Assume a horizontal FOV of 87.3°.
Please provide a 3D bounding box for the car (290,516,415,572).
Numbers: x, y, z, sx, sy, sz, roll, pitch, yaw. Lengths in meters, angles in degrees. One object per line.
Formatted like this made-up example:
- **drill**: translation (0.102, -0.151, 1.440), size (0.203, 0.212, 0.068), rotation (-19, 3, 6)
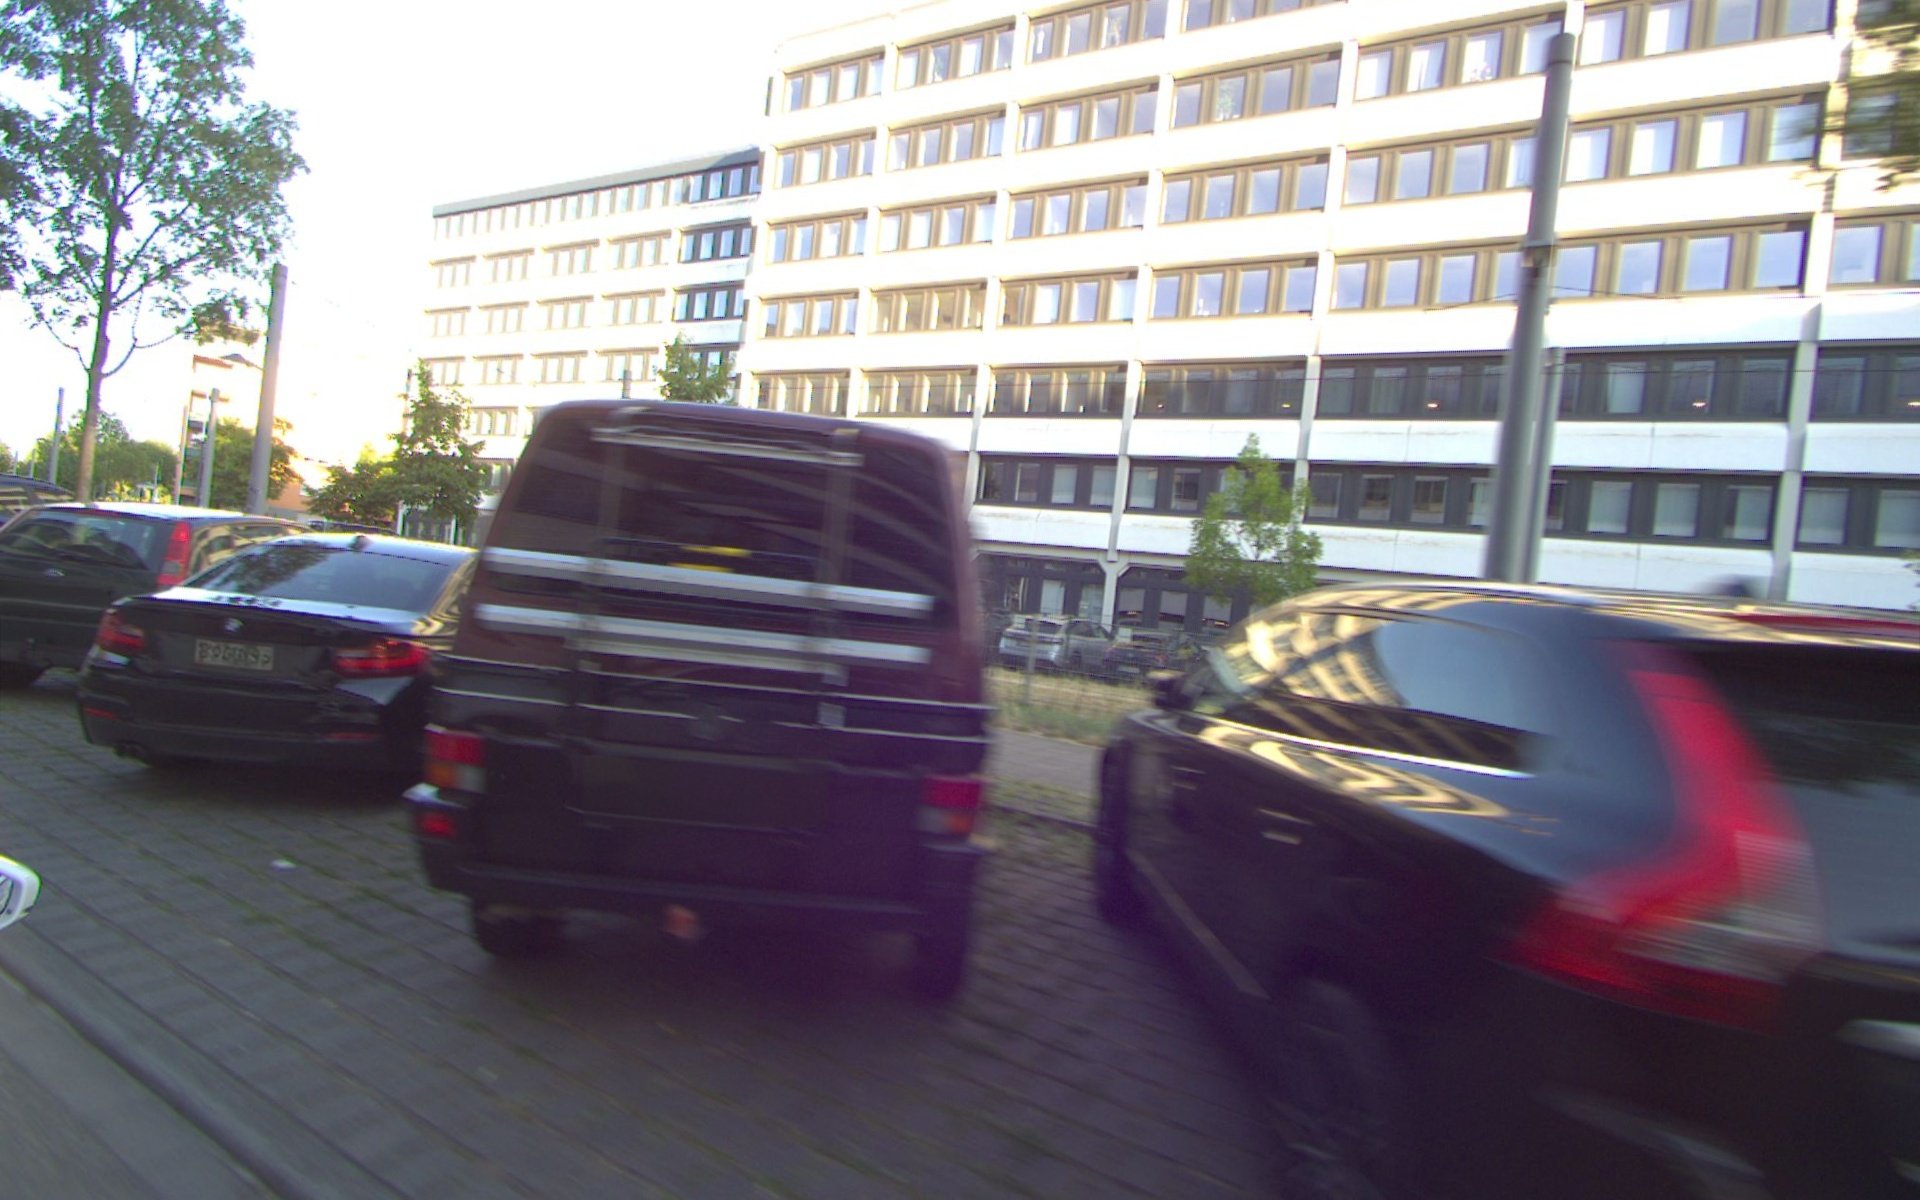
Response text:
- **car**: translation (-28.072, -2.535, 46.624), size (1.900, 1.960, 4.500), rotation (6, 0, 32)

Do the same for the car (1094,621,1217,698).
- **car**: translation (4.725, 1.455, 23.890), size (1.564, 1.414, 3.998), rotation (7, -2, 29)

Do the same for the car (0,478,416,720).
- **car**: translation (-6.400, -0.023, 8.408), size (1.732, 1.459, 3.778), rotation (8, -1, -4)

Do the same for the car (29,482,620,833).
- **car**: translation (-3.670, 0.320, 6.718), size (1.610, 1.482, 3.778), rotation (8, -1, -4)

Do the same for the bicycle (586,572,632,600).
- **bicycle**: translation (-18.745, -0.751, 53.675), size (2.391, 1.214, 0.830), rotation (7, -2, 31)

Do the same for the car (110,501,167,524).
- **car**: translation (-80.350, -8.535, 98.459), size (4.127, 1.595, 1.688), rotation (7, 0, -34)

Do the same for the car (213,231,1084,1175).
- **car**: translation (-0.839, 0.322, 4.739), size (1.838, 2.059, 4.603), rotation (8, -1, -2)

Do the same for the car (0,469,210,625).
- **car**: translation (-11.095, -0.659, 11.432), size (1.936, 1.661, 3.985), rotation (5, 1, 3)

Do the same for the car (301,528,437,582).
- **car**: translation (-24.373, -1.822, 41.668), size (1.665, 1.622, 4.502), rotation (6, 0, 31)

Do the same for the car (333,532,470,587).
- **car**: translation (-22.331, -1.595, 40.411), size (1.665, 1.622, 4.502), rotation (6, 0, 31)

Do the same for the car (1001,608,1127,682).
- **car**: translation (2.681, 1.177, 25.174), size (1.564, 1.414, 3.998), rotation (7, -2, 29)

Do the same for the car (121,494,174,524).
- **car**: translation (-86.951, -9.694, 107.711), size (4.132, 2.616, 1.686), rotation (7, 0, -38)

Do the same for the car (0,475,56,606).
- **car**: translation (-13.759, -0.952, 12.369), size (1.731, 1.746, 3.779), rotation (8, -1, -2)

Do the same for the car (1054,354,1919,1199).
- **car**: translation (1.636, 0.757, 3.580), size (1.837, 1.769, 4.604), rotation (8, -1, -1)
